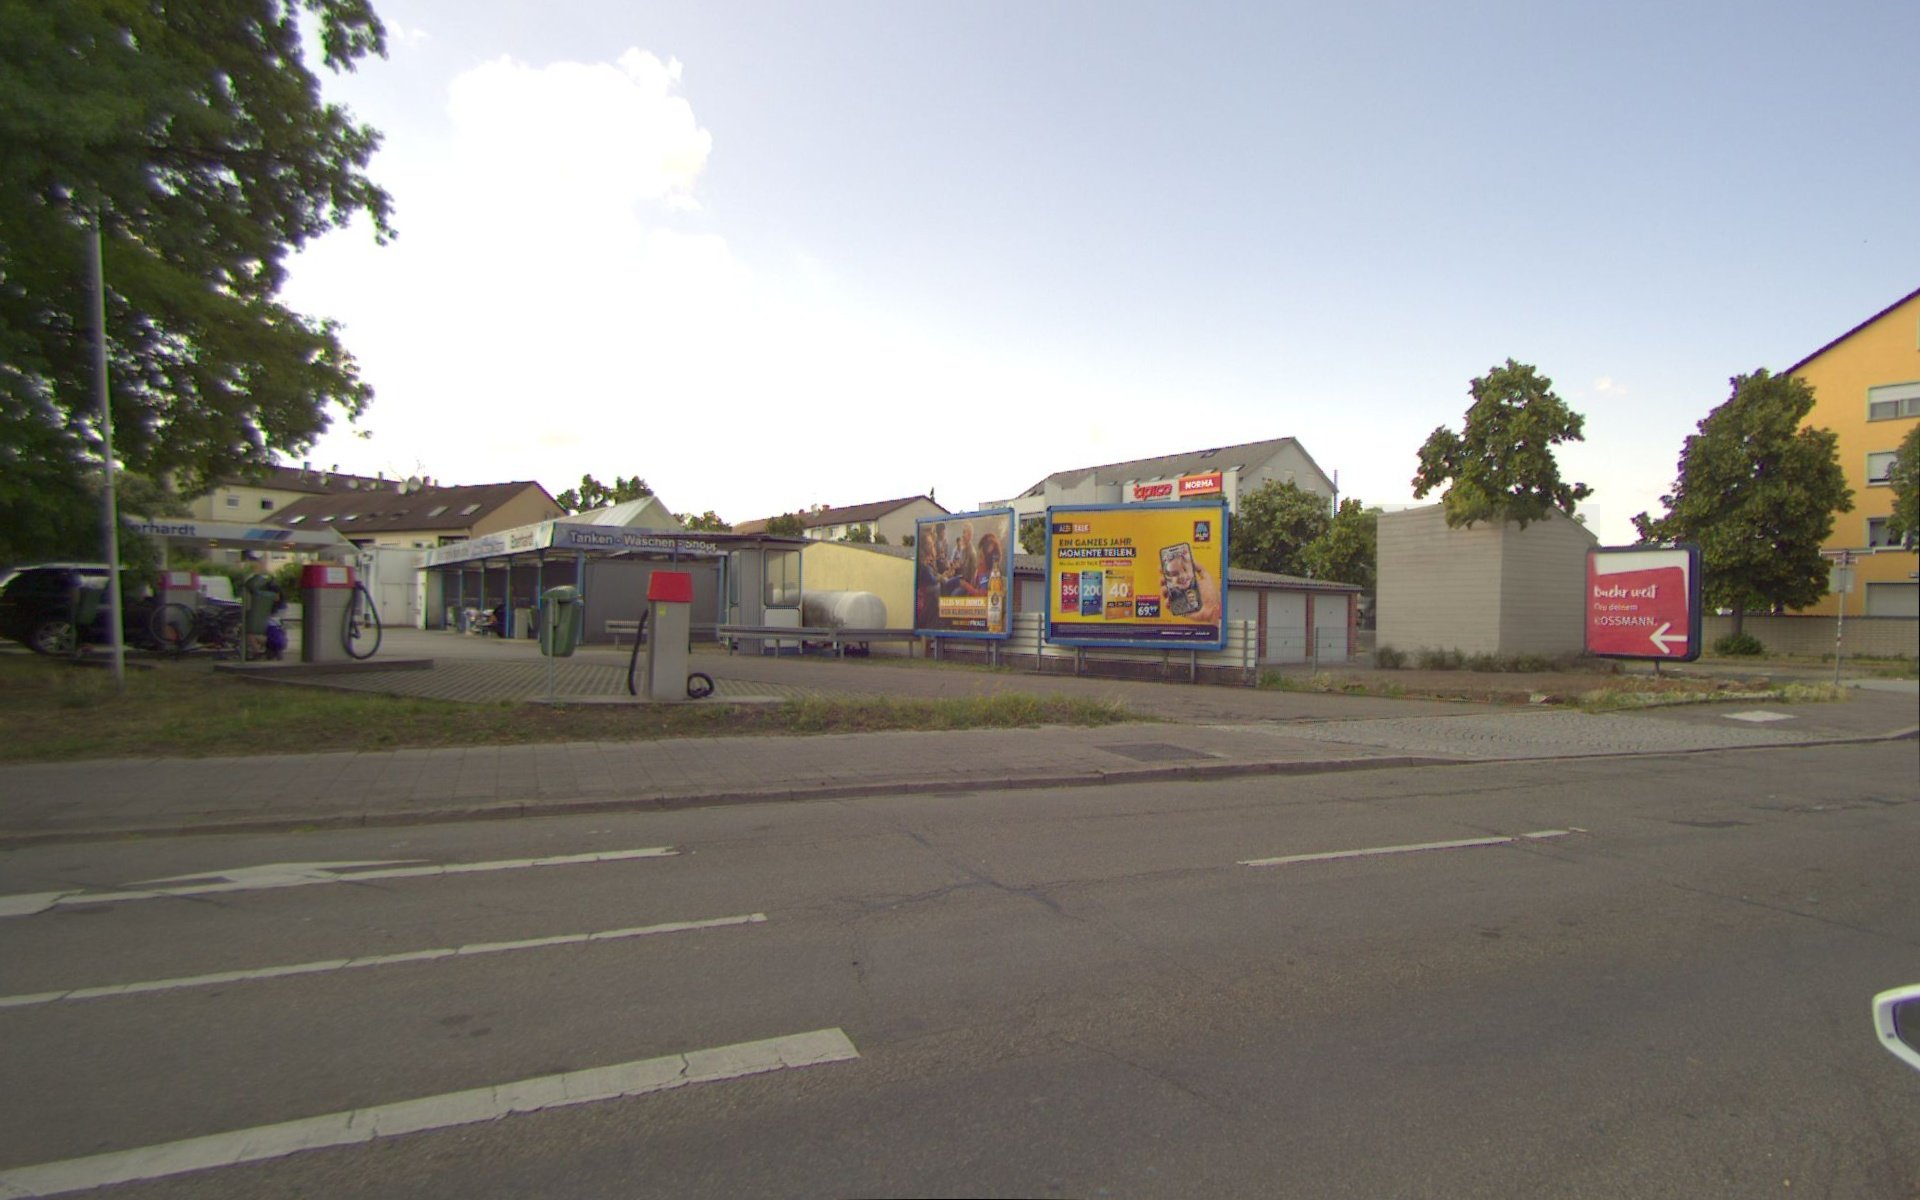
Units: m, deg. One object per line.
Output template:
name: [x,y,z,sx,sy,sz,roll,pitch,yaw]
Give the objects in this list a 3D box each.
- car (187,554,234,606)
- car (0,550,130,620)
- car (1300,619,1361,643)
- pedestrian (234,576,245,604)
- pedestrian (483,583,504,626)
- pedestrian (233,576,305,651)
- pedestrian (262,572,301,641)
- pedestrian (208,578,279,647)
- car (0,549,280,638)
car: [-38.830,-1.003,51.991,1.741,2.486,5.686,1,0,-38]
car: [-26.593,-0.421,27.930,2.123,1.851,5.169,1,0,42]
car: [26.855,2.228,72.786,1.640,1.613,3.851,-1,0,-43]
pedestrian: [-39.924,-0.552,55.635,0.420,1.544,0.326,1,-2,43]
pedestrian: [-17.605,0.170,37.914,0.648,1.565,0.619,1,0,-30]
pedestrian: [-12.290,0.252,17.869,0.750,1.272,0.646,2,-2,9]
pedestrian: [-15.344,0.155,22.708,0.558,1.514,0.612,4,-3,-44]
pedestrian: [-13.044,0.239,18.299,0.750,1.205,0.646,2,-2,9]
car: [-16.735,-0.094,20.363,2.123,1.617,4.539,1,0,42]
